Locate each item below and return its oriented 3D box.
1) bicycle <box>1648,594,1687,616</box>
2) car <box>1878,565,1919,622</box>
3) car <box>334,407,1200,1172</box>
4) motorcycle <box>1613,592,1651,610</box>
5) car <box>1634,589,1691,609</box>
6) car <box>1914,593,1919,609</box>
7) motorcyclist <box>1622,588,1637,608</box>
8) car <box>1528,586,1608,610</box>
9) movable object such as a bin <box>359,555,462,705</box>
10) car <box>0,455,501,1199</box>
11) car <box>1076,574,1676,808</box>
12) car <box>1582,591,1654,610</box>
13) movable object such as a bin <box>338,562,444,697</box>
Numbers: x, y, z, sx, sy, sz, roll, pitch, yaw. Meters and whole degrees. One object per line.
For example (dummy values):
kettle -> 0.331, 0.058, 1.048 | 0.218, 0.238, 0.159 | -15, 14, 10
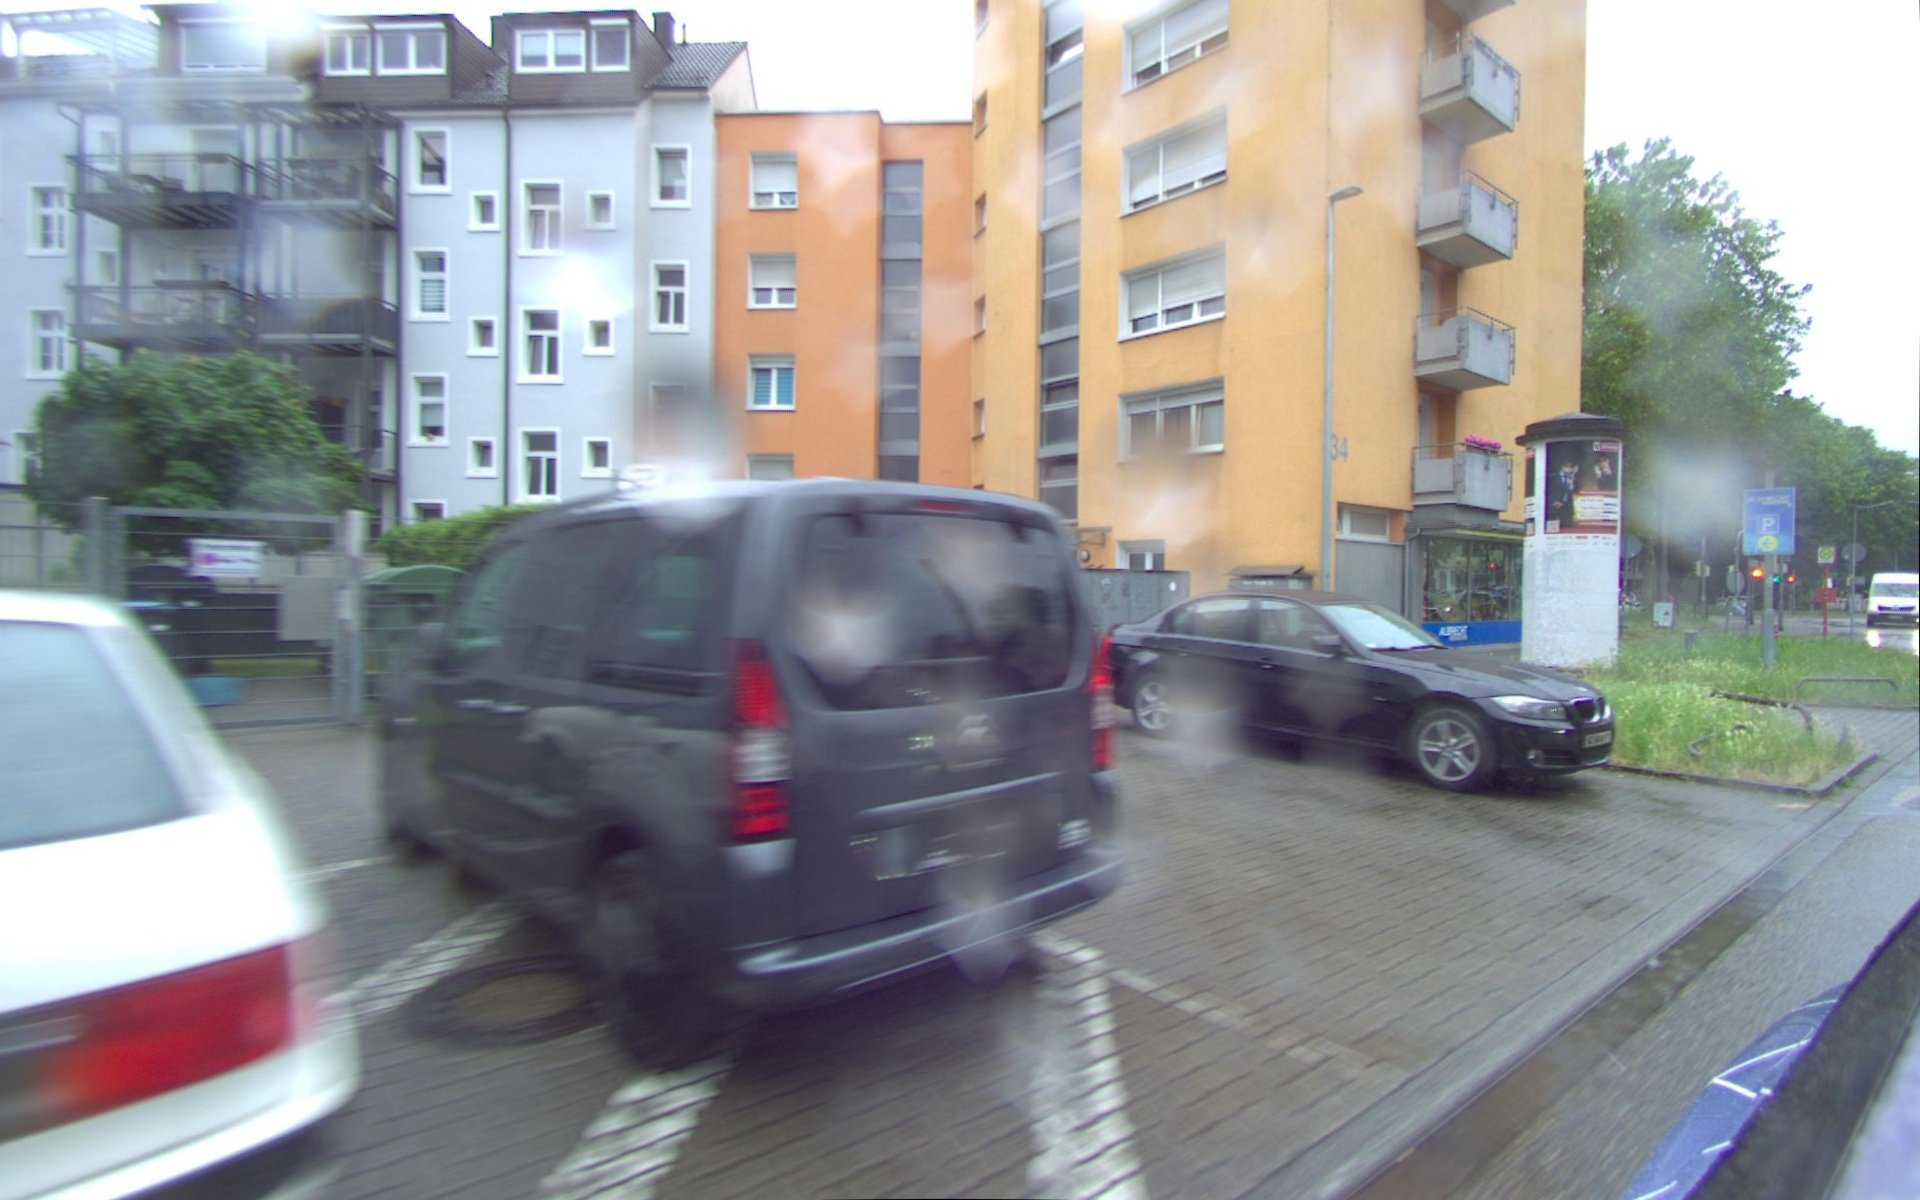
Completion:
bicycle -> 36.448, 0.267, 52.144 | 1.602, 1.090, 0.442 | 1, 0, 25
car -> 45.842, -0.303, 48.798 | 2.276, 2.594, 6.410 | 0, 0, 43
car -> -1.264, 0.382, 4.620 | 1.912, 1.827, 4.237 | 0, 2, -43
motorcycle -> 45.958, 0.080, 69.237 | 2.067, 1.230, 0.867 | 1, 0, 44
car -> 55.776, -0.093, 80.397 | 1.812, 1.544, 3.452 | 0, 0, -44
car -> 90.574, 0.059, 94.300 | 4.195, 1.478, 1.821 | 0, 0, -39
motorcyclist -> 45.891, -0.144, 69.345 | 0.752, 1.368, 0.746 | 0, 0, 43
car -> 39.248, -0.146, 65.338 | 4.160, 1.479, 1.965 | 1, 0, 41
movable object such as a bin -> -5.536, 0.273, 10.164 | 0.806, 1.395, 1.240 | 1, 0, -33
car -> -2.814, 0.580, 2.565 | 1.856, 1.588, 4.196 | 0, 1, -42
car -> 3.354, 0.542, 8.970 | 1.948, 1.488, 4.543 | -1, 2, -40
car -> 46.734, 0.006, 71.904 | 4.151, 1.291, 1.876 | 0, 0, 39
movable object such as a bin -> -6.326, 0.296, 11.227 | 0.936, 1.395, 1.220 | 1, 0, -33
